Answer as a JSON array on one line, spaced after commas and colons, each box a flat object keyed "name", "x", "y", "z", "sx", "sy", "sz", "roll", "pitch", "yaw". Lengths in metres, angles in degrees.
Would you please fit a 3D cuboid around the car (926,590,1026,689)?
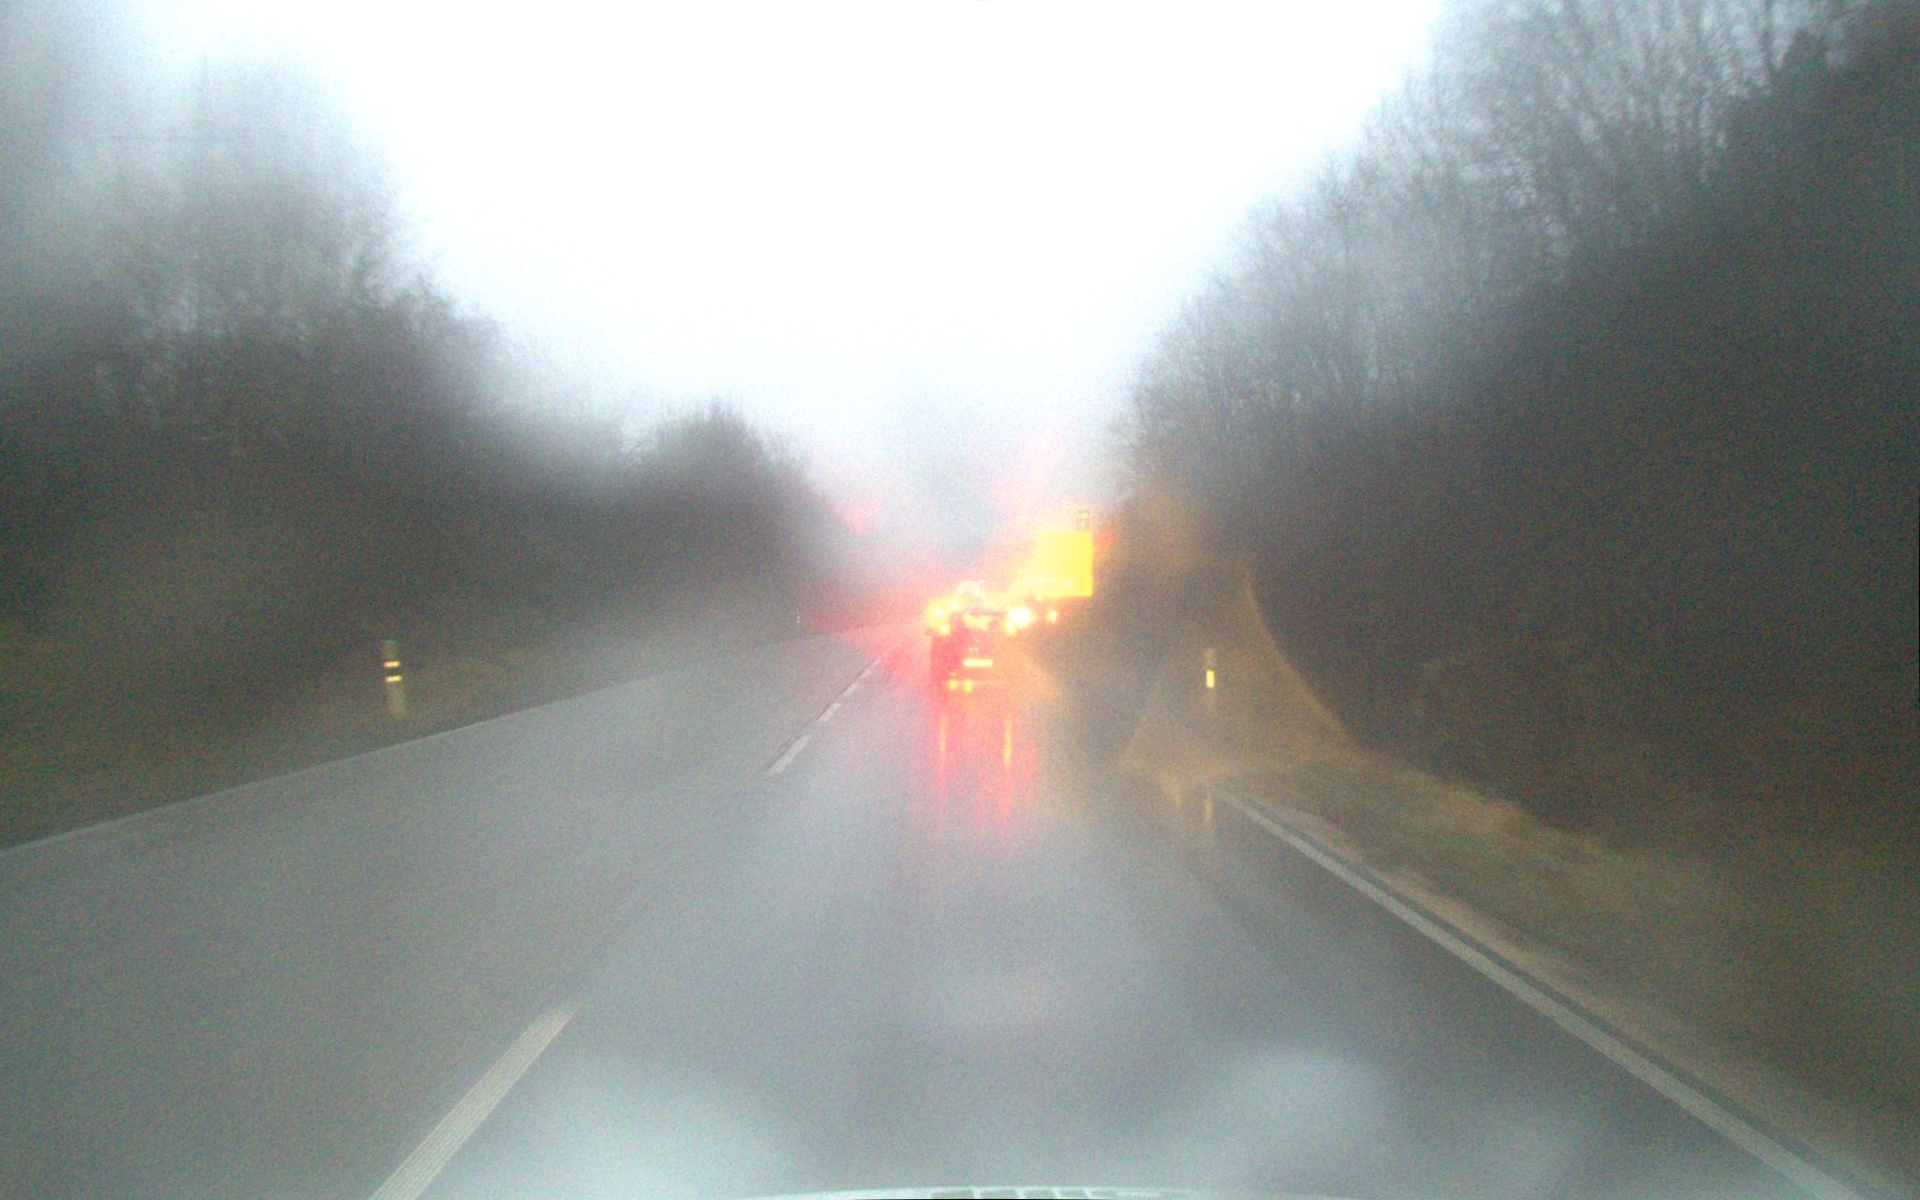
[{"name": "car", "x": 0.274, "y": 0.677, "z": 30.251, "sx": 1.692, "sy": 1.672, "sz": 4.000, "roll": 0, "pitch": 0, "yaw": 0}]

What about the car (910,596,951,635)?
[{"name": "car", "x": -1.258, "y": 0.654, "z": 71.649, "sx": 1.692, "sy": 1.672, "sz": 4.000, "roll": 0, "pitch": 0, "yaw": 0}]
